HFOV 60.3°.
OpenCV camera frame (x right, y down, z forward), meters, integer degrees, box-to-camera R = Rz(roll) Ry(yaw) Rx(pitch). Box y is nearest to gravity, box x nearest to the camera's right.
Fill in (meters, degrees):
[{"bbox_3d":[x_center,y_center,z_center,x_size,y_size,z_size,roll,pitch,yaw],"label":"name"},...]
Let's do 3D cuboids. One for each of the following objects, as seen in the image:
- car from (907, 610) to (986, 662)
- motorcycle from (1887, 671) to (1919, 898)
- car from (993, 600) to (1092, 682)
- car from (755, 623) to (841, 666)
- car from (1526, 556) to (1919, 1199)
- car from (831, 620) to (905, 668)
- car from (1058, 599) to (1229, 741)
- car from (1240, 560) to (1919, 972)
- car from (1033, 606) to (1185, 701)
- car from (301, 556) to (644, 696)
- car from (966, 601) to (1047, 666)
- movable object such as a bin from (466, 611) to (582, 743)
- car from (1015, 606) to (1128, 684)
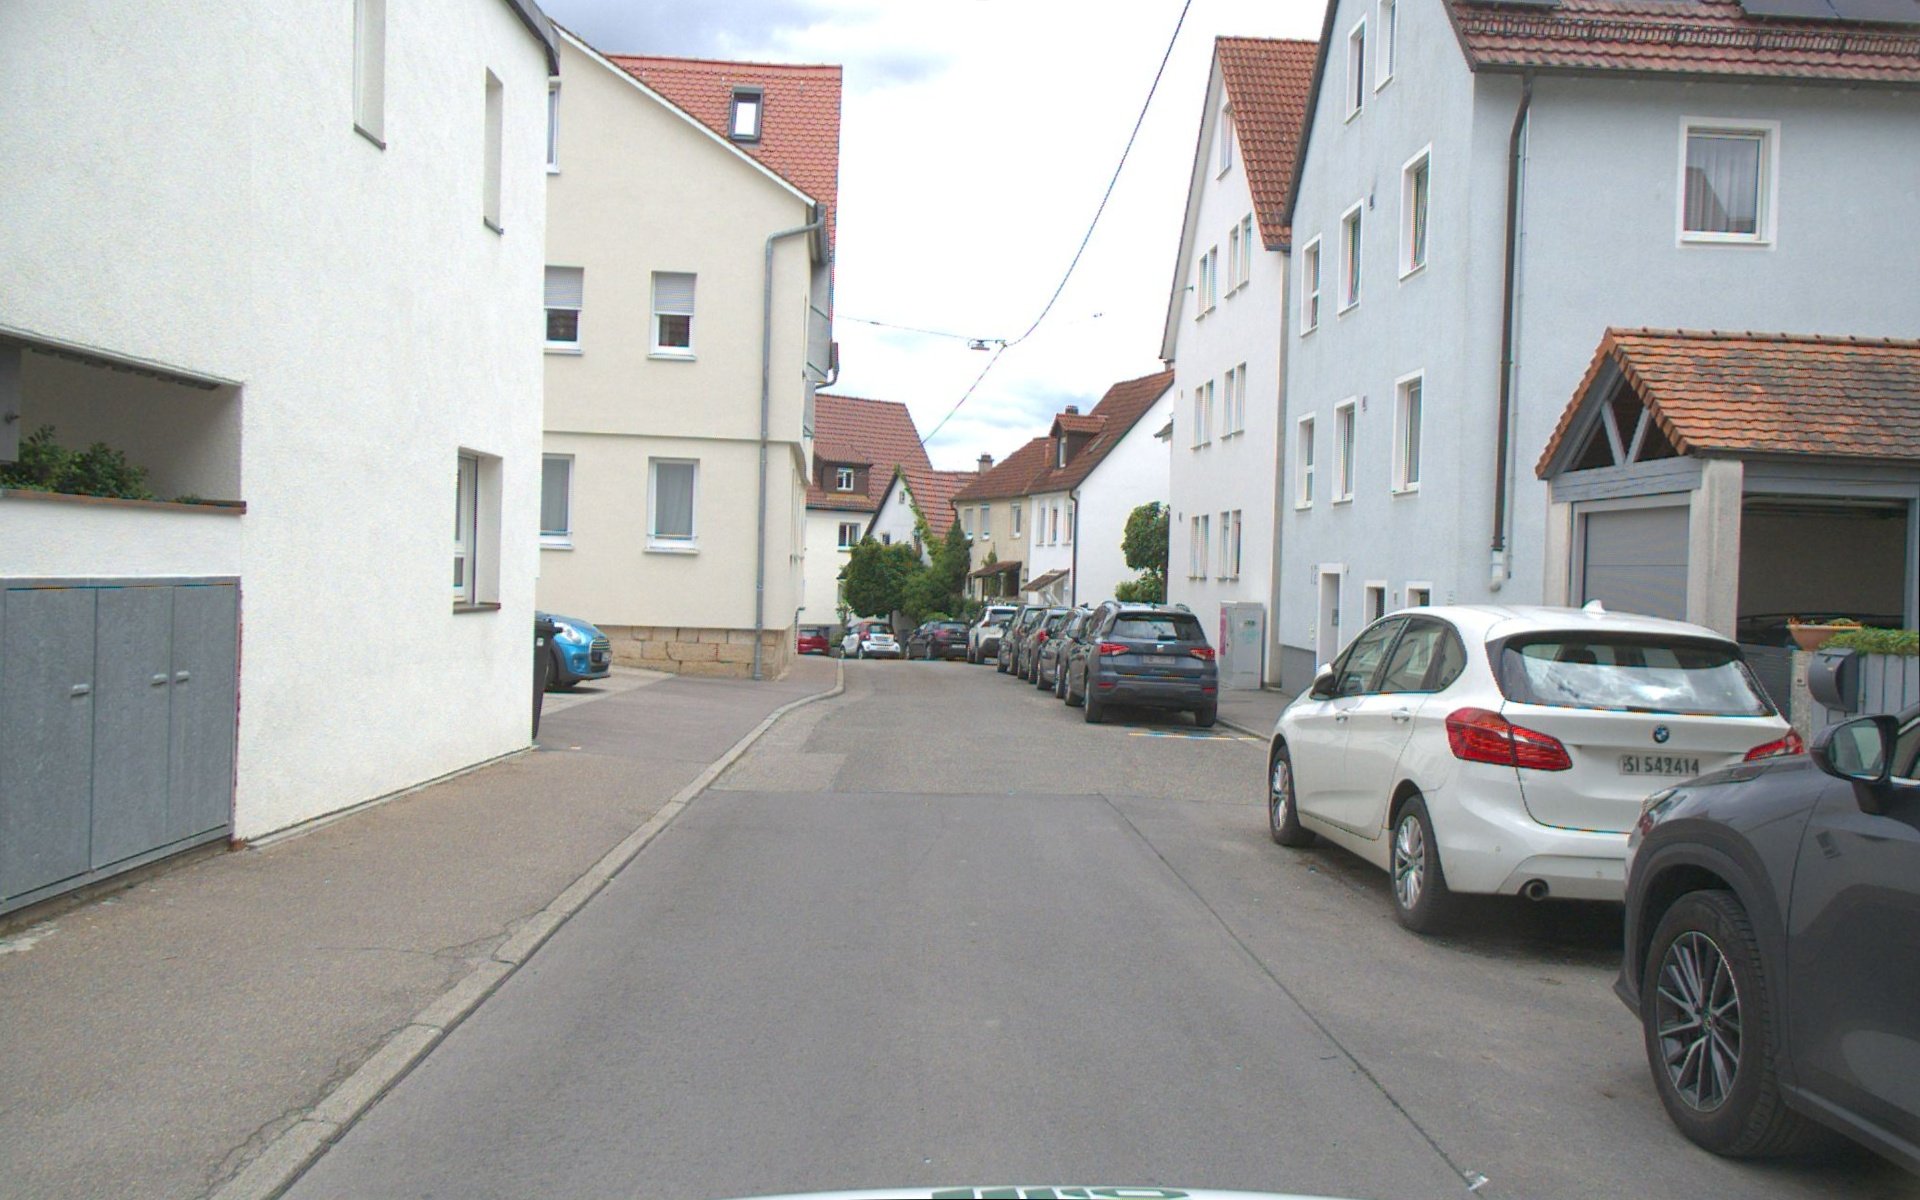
[{"bbox_3d":[-0.513,1.313,58.544,1.960,1.743,3.985,1,-3,-14],"label":"car"},{"bbox_3d":[5.477,0.978,8.003,0.802,1.193,2.170,1,-1,1],"label":"motorcycle"},{"bbox_3d":[1.836,0.923,37.850,1.702,1.638,3.996,4,-1,-4],"label":"car"},{"bbox_3d":[-7.149,1.972,72.608,1.979,1.713,3.948,-2,-1,-36],"label":"car"},{"bbox_3d":[3.083,0.758,3.596,1.825,1.662,4.899,2,0,-2],"label":"car"},{"bbox_3d":[-3.797,1.765,67.340,1.933,1.743,3.977,2,0,-20],"label":"car"},{"bbox_3d":[2.385,0.860,22.580,1.718,1.656,4.534,3,0,-1],"label":"car"},{"bbox_3d":[3.040,0.690,9.425,1.953,1.643,4.878,3,0,0],"label":"car"},{"bbox_3d":[2.350,0.831,27.306,1.880,1.434,4.653,0,0,-3],"label":"car"},{"bbox_3d":[-6.182,0.350,21.330,3.654,1.436,2.121,4,-2,2],"label":"car"},{"bbox_3d":[1.300,0.959,47.690,1.836,1.743,4.143,2,-1,-5],"label":"car"},{"bbox_3d":[-3.854,0.673,14.648,0.602,1.094,0.752,4,-1,20],"label":"movable object such as a bin"},{"bbox_3d":[2.114,0.871,32.378,1.761,1.376,4.072,2,-1,-2],"label":"car"}]
